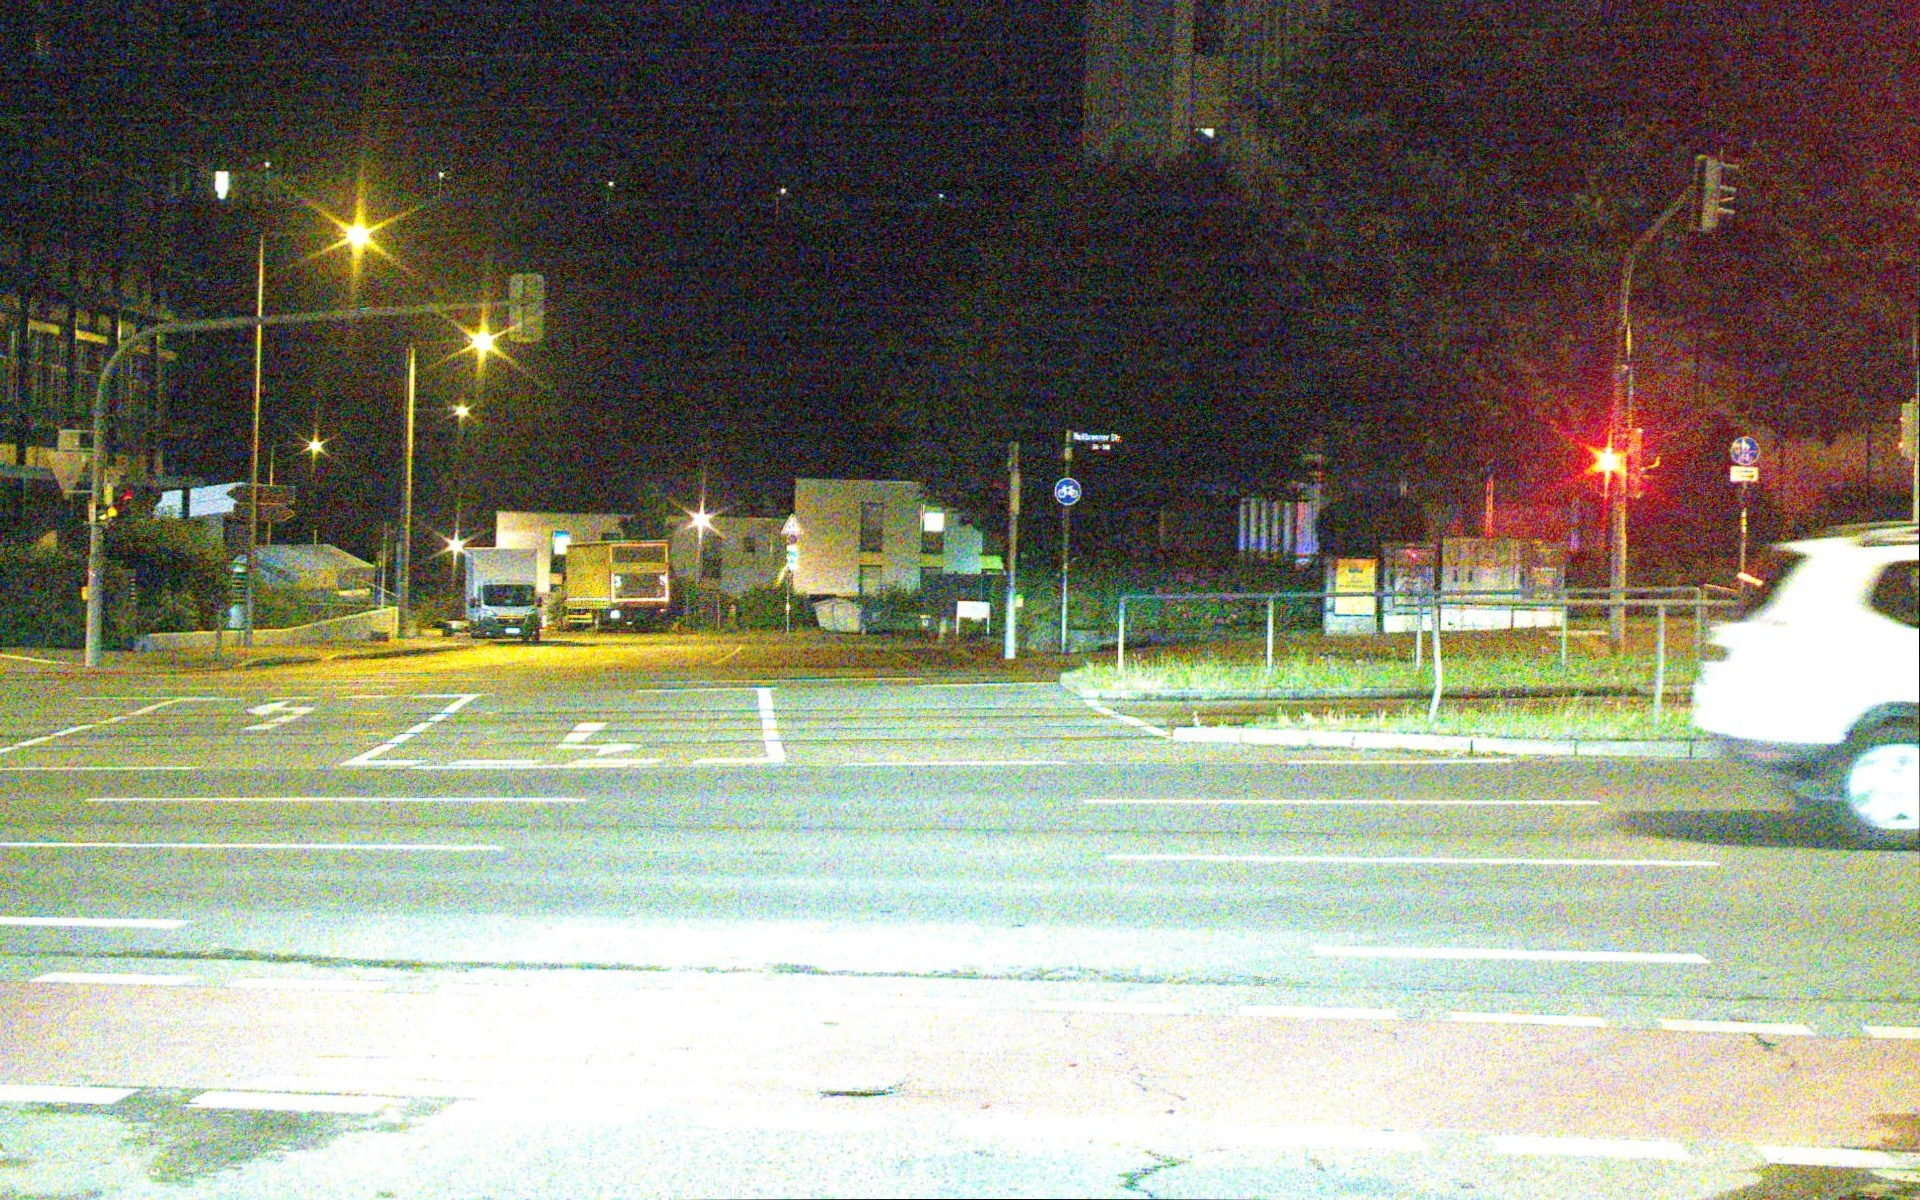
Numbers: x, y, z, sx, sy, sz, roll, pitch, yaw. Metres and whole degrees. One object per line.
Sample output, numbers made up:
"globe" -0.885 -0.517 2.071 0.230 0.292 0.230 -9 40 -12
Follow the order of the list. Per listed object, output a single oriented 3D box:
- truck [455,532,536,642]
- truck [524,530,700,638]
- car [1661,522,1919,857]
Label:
"truck" -16.106 -0.470 119.045 2.582 3.694 5.739 1 1 -9
"truck" -15.453 -0.761 151.231 4.821 4.531 12.669 1 1 -19
"car" 6.047 0.428 18.323 4.283 1.677 1.875 0 2 2
